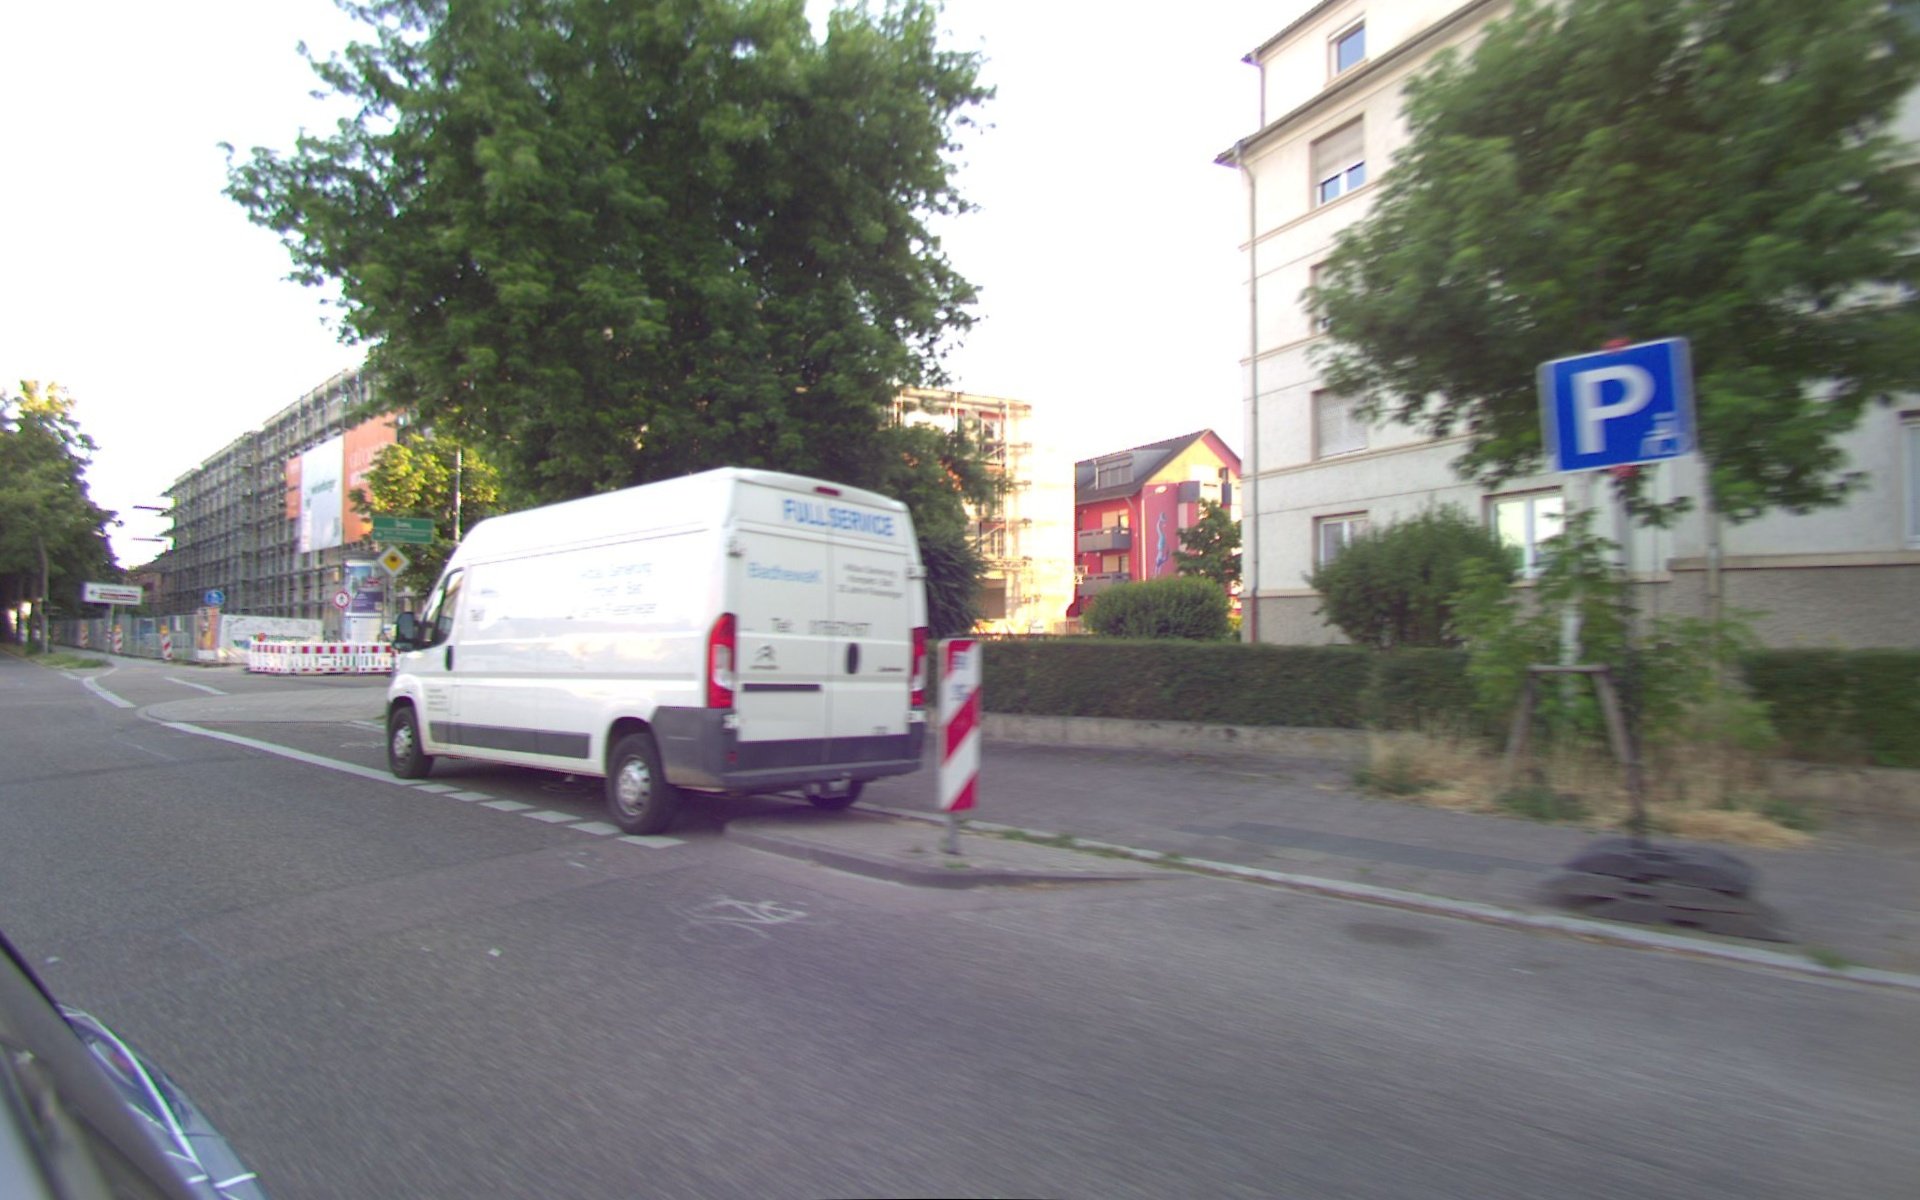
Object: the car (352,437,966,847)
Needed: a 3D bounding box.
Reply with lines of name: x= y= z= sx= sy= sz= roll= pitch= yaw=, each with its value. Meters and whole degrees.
car: x=-2.985 y=0.390 z=8.946 sx=6.099 sy=2.480 sz=2.156 roll=-2 pitch=-5 yaw=41
